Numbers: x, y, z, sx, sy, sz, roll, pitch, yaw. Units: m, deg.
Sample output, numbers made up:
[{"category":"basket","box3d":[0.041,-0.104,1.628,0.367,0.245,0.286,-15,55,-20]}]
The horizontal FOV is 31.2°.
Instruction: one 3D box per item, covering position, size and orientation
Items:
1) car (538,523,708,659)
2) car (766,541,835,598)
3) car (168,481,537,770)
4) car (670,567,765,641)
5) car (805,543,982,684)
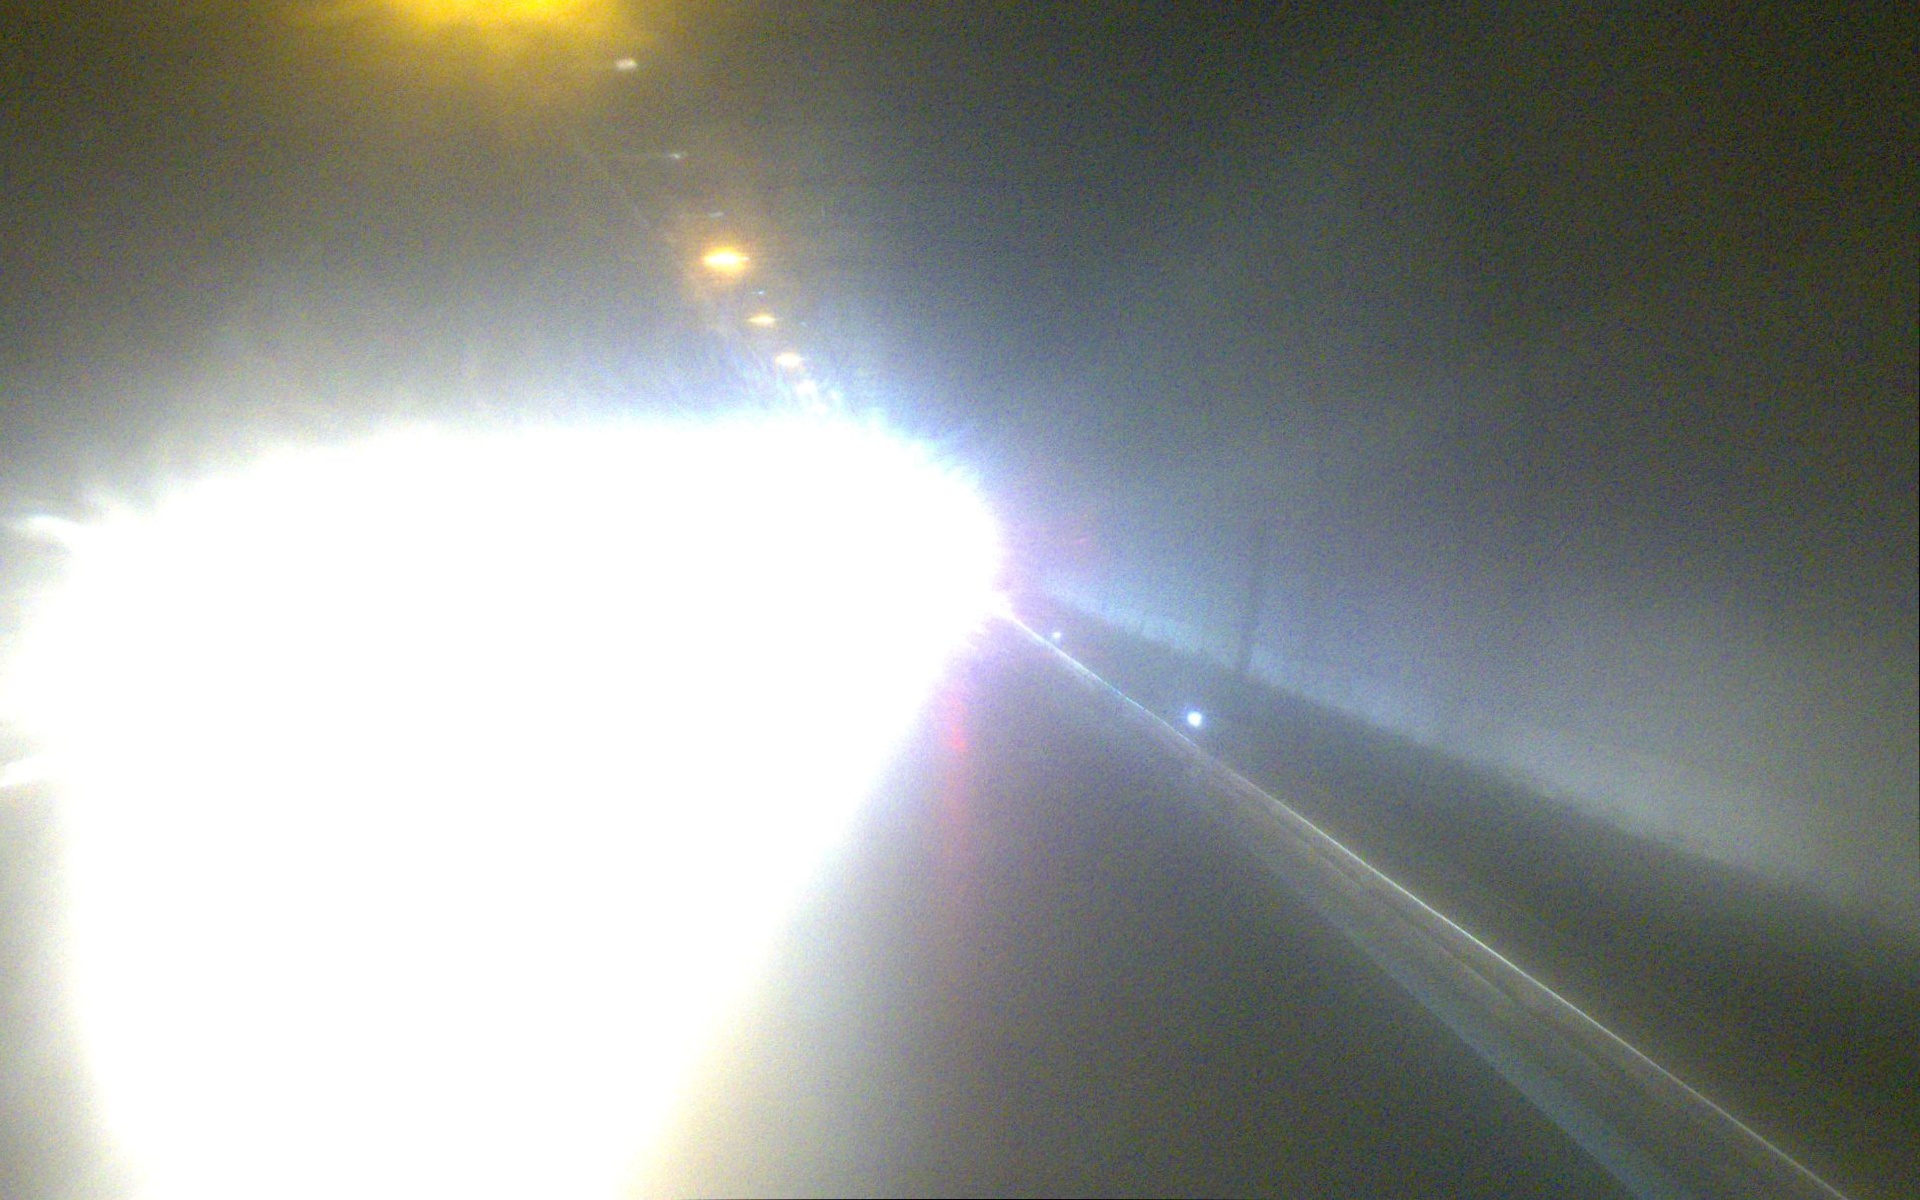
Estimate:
[{"category":"car","box3d":[-4.043,-0.137,41.688,1.701,1.550,3.873,1,1,-1]},{"category":"car","box3d":[-4.924,-0.952,106.789,1.993,1.704,4.281,1,1,-1]},{"category":"car","box3d":[-3.791,0.090,22.069,1.669,1.641,3.907,-2,2,-1]},{"category":"car","box3d":[-4.856,0.069,69.071,1.690,1.417,3.625,1,1,-1]},{"category":"car","box3d":[-0.833,0.136,42.891,2.089,1.656,4.000,1,1,-1]}]
